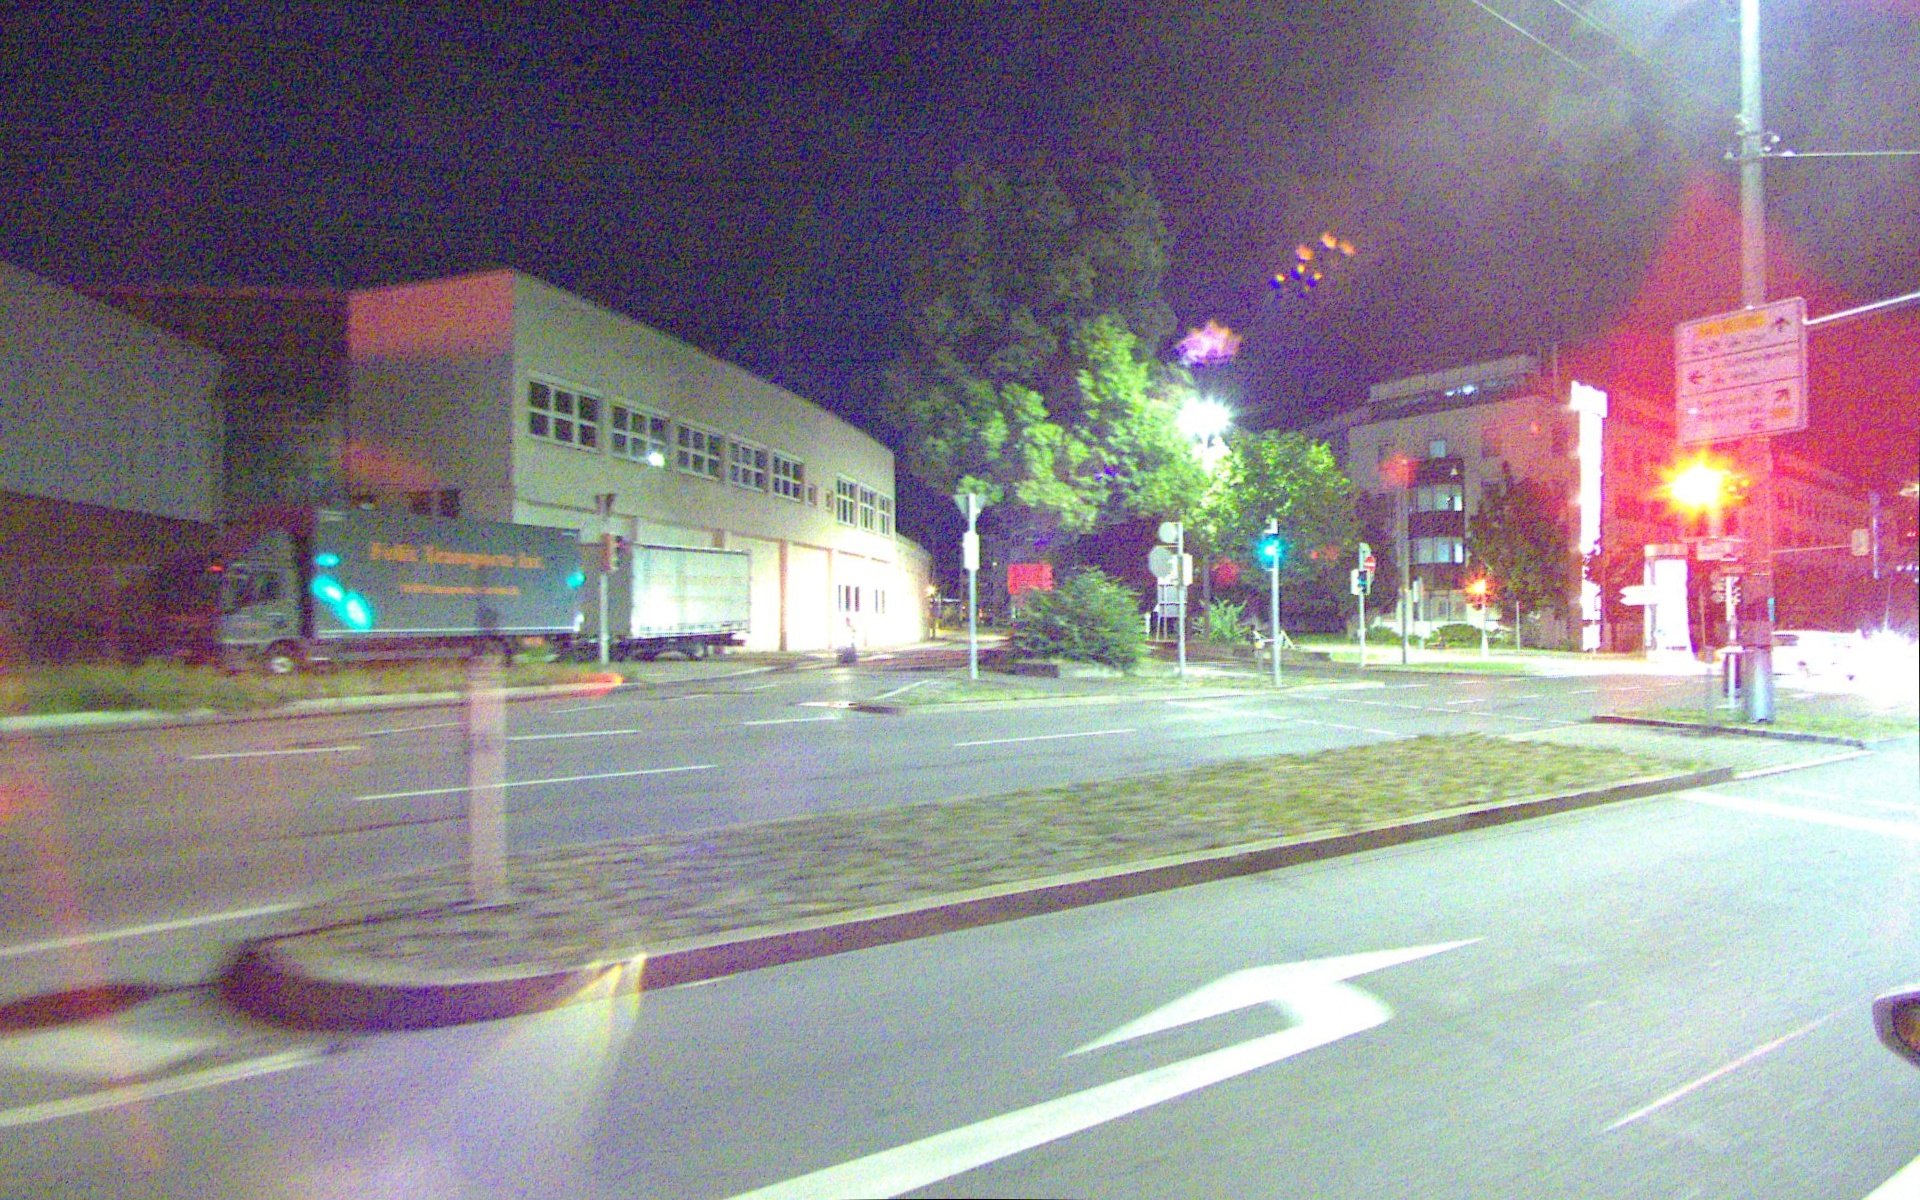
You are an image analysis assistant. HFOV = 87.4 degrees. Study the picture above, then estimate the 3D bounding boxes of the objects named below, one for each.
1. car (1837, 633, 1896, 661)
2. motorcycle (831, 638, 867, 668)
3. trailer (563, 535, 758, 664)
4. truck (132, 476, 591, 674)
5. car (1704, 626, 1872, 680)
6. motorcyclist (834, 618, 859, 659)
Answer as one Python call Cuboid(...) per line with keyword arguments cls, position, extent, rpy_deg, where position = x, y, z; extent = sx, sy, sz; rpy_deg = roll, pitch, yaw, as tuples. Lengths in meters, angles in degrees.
Cuboid(cls="car", position=(47.035, 2.440, 52.121), extent=(3.517, 1.339, 1.744), rpy_deg=(2, -2, -38))
Cuboid(cls="motorcycle", position=(-3.561, 1.688, 32.338), extent=(0.568, 0.907, 2.157), rpy_deg=(-2, -2, 10))
Cuboid(cls="trailer", position=(-9.768, 0.082, 33.526), extent=(2.572, 3.840, 6.511), rpy_deg=(1, -2, 24))
Cuboid(cls="truck", position=(-13.729, -0.344, 24.475), extent=(2.892, 3.846, 9.550), rpy_deg=(0, -2, 25))
Cuboid(cls="car", position=(25.007, 1.568, 30.535), extent=(1.676, 1.511, 3.999), rpy_deg=(1, -2, -3))
Cuboid(cls="motorcyclist", position=(-3.658, 1.232, 32.276), extent=(0.635, 1.278, 0.579), rpy_deg=(1, -1, 10))
